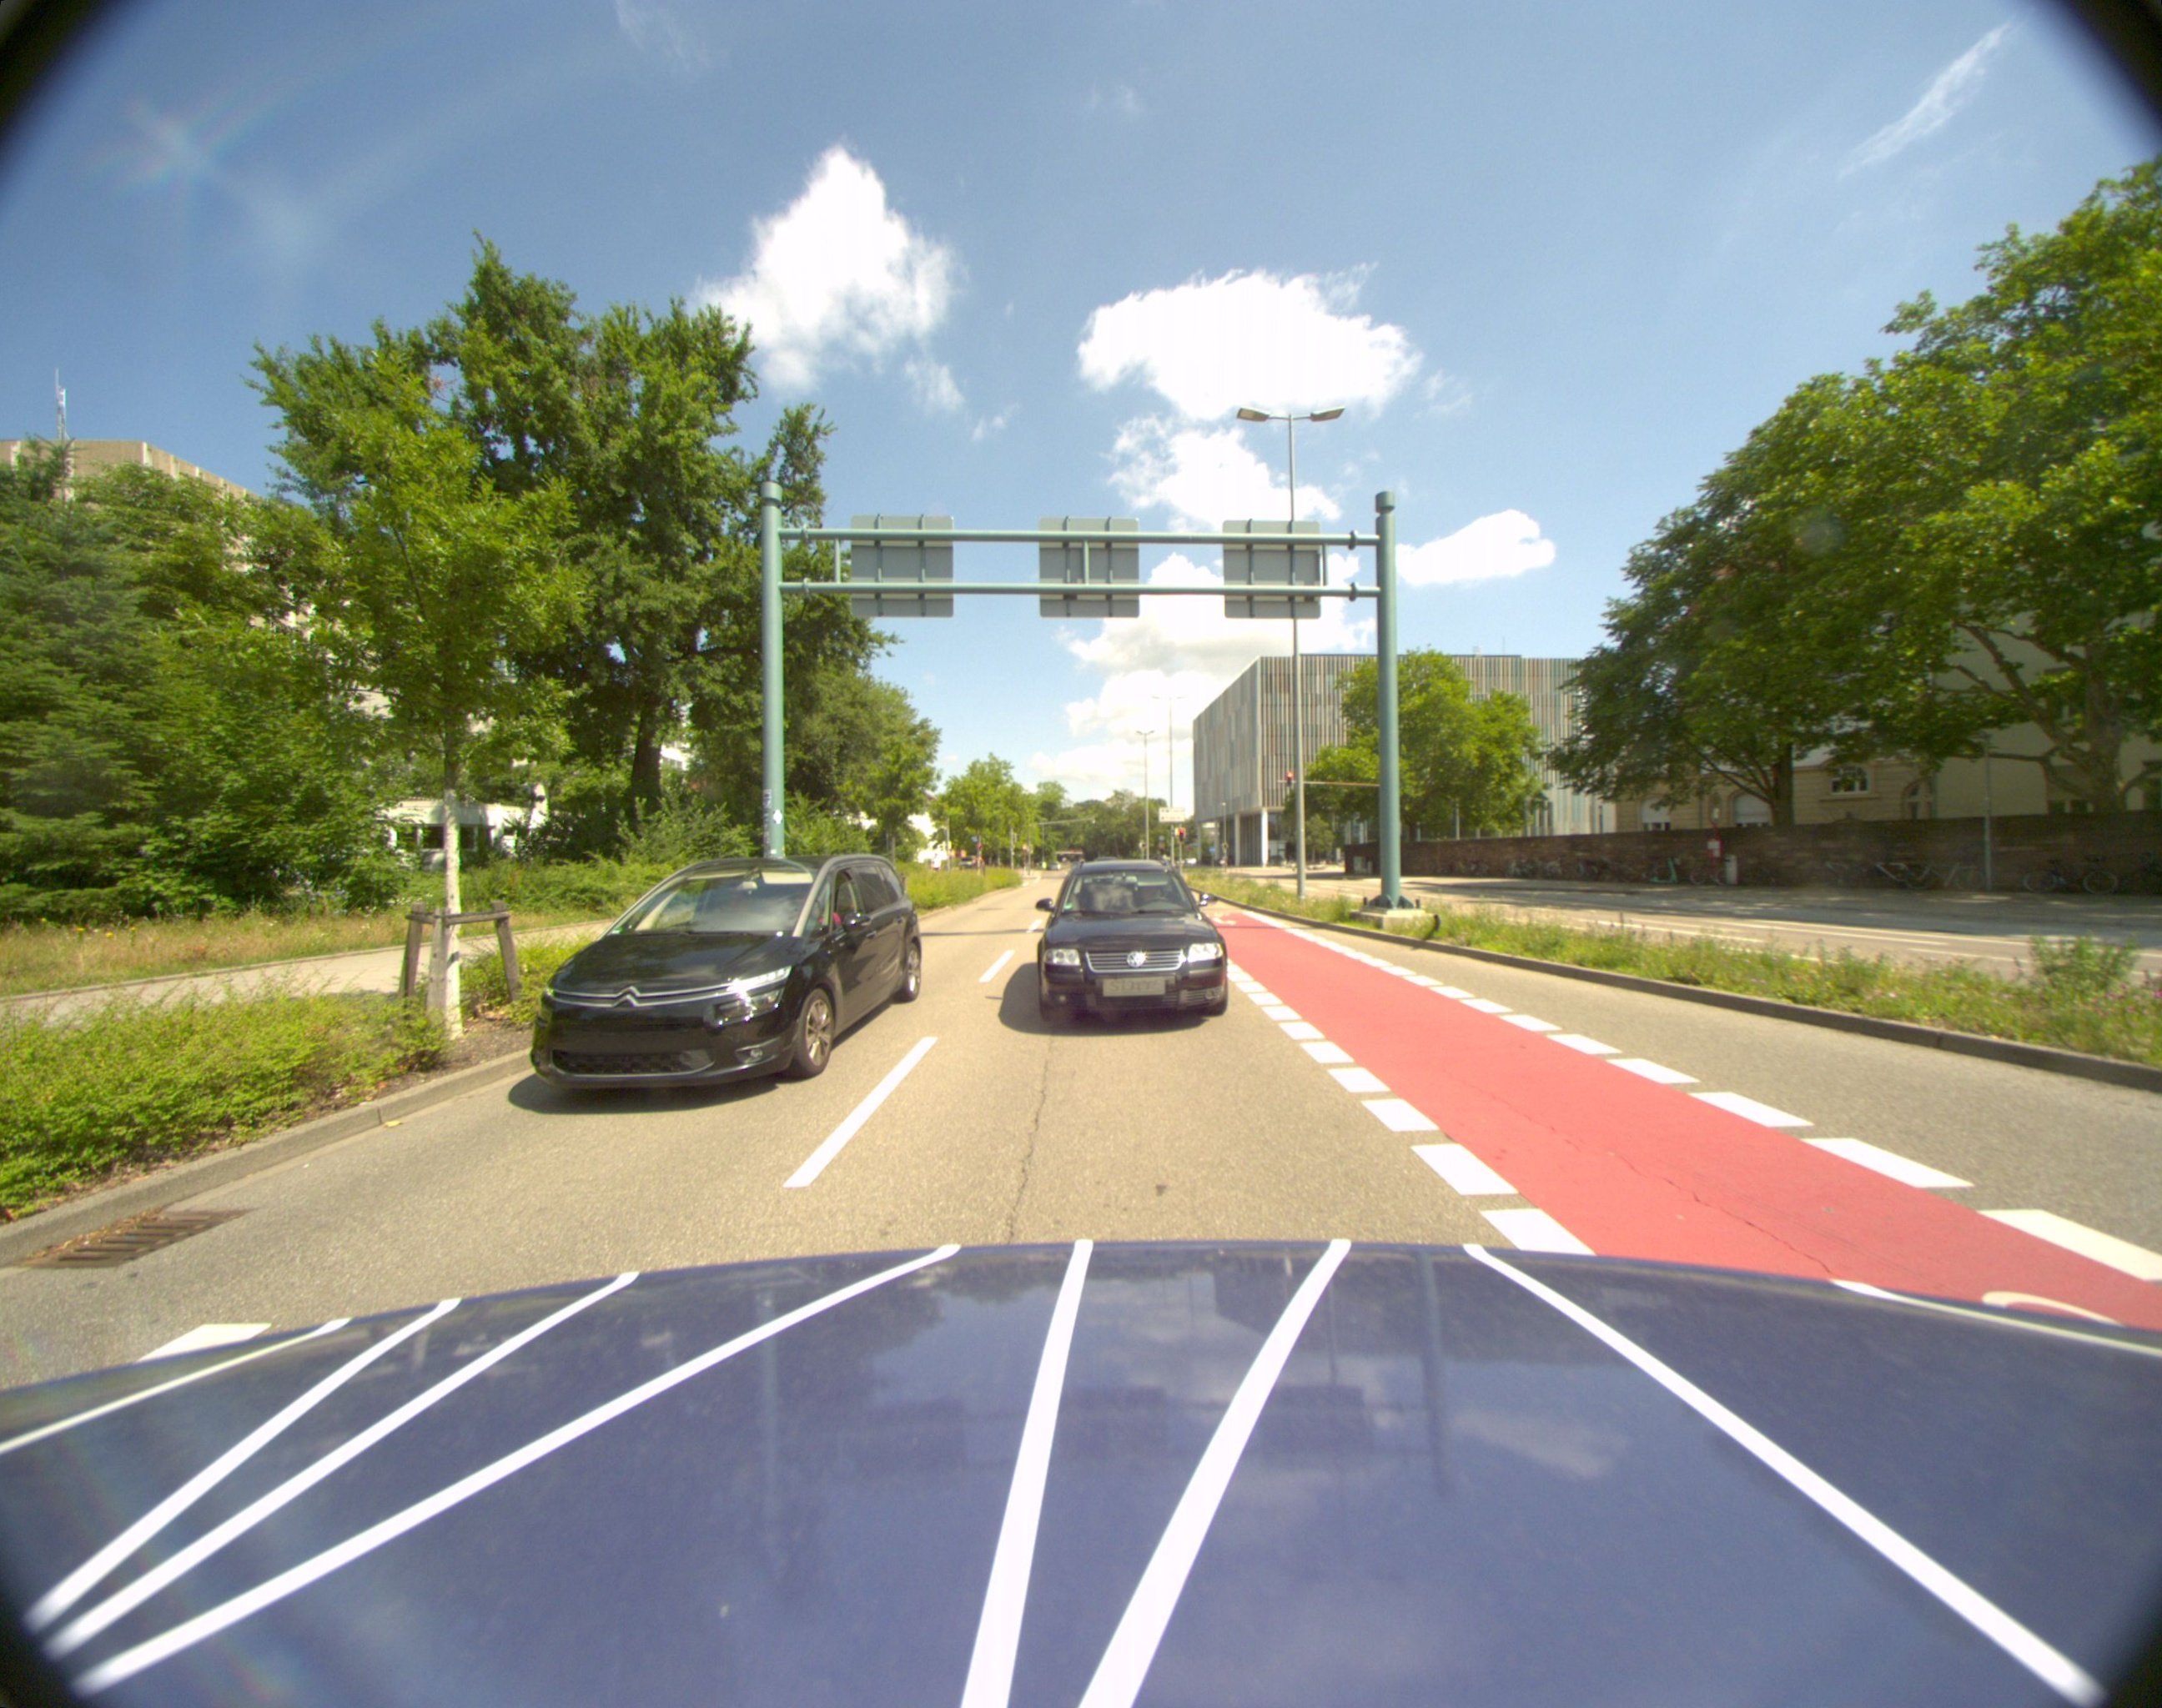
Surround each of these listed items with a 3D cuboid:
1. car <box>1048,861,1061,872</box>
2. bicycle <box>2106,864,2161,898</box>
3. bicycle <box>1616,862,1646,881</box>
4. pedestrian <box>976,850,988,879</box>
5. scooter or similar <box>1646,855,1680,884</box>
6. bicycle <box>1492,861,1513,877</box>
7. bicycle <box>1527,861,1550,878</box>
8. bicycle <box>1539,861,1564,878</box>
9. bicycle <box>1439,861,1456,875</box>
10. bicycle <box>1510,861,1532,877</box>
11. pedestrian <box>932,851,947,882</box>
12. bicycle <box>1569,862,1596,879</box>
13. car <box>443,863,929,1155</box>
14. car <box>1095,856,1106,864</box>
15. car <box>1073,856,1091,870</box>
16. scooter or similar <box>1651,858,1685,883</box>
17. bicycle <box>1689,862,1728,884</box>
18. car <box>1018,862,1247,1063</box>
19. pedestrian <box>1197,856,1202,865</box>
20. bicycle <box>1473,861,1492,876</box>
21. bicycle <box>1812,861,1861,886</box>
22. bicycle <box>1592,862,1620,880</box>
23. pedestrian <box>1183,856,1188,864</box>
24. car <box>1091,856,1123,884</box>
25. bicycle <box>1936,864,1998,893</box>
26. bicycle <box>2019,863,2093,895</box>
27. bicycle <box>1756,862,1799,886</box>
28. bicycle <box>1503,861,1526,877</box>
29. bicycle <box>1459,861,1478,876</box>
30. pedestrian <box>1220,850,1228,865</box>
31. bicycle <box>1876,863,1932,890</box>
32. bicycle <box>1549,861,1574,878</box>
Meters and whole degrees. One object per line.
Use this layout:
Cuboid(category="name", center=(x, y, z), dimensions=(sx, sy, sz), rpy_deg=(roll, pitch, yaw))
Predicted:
Cuboid(category="car", center=(-4.302, 1.947, 122.143), dimensions=(1.816, 1.598, 4.479), rpy_deg=(-3, 0, 1))
Cuboid(category="bicycle", center=(27.139, 0.679, 19.352), dimensions=(0.265, 0.826, 1.234), rpy_deg=(-1, 0, -13))
Cuboid(category="bicycle", center=(24.161, 0.772, 33.376), dimensions=(0.265, 0.826, 1.235), rpy_deg=(-1, 0, -11))
Cuboid(category="pedestrian", center=(-6.097, 0.663, 46.746), dimensions=(0.639, 1.754, 0.886), rpy_deg=(-1, 0, -2))
Cuboid(category="scooter or similar", center=(23.846, 0.623, 31.141), dimensions=(0.265, 1.182, 1.234), rpy_deg=(-1, 0, -11))
Cuboid(category="bicycle", center=(23.168, 0.818, 41.809), dimensions=(0.265, 0.826, 1.234), rpy_deg=(-1, 0, -11))
Cuboid(category="bicycle", center=(23.483, 0.788, 39.003), dimensions=(0.265, 0.826, 1.235), rpy_deg=(-1, 0, -11))
Cuboid(category="bicycle", center=(23.231, 0.750, 37.539), dimensions=(0.265, 0.826, 1.234), rpy_deg=(-1, 0, -11))
Cuboid(category="bicycle", center=(22.505, 0.875, 46.655), dimensions=(0.265, 0.826, 1.235), rpy_deg=(-1, 0, -11))
Cuboid(category="bicycle", center=(23.374, 0.790, 40.414), dimensions=(0.265, 0.826, 1.234), rpy_deg=(-1, 0, -11))
Cuboid(category="pedestrian", center=(-9.436, 0.812, 50.485), dimensions=(0.846, 2.026, 0.900), rpy_deg=(-1, 0, -17))
Cuboid(category="bicycle", center=(23.870, 0.780, 36.180), dimensions=(0.265, 0.826, 1.235), rpy_deg=(-1, 0, -11))
Cuboid(category="car", center=(-2.754, 0.936, 6.676), dimensions=(1.816, 1.598, 4.479), rpy_deg=(-3, 0, 1))
Cuboid(category="car", center=(3.843, 1.175, 150.975), dimensions=(1.758, 1.581, 4.275), rpy_deg=(-1, 0, -4))
Cuboid(category="car", center=(0.157, 0.890, 80.823), dimensions=(1.806, 1.361, 4.157), rpy_deg=(-1, 1, 1))
Cuboid(category="scooter or similar", center=(24.588, 0.694, 31.856), dimensions=(0.266, 1.014, 1.140), rpy_deg=(-1, 0, -22))
Cuboid(category="bicycle", center=(24.831, 0.740, 30.086), dimensions=(0.265, 0.826, 1.233), rpy_deg=(-1, 0, -21))
Cuboid(category="car", center=(0.433, 0.871, 8.236), dimensions=(1.723, 1.472, 4.594), rpy_deg=(-3, 0, 1))
Cuboid(category="pedestrian", center=(18.934, 0.988, 121.707), dimensions=(0.696, 1.445, 0.689), rpy_deg=(-1, 0, 4))
Cuboid(category="bicycle", center=(22.943, 0.807, 43.436), dimensions=(0.265, 0.826, 1.234), rpy_deg=(-1, 0, -11))
Cuboid(category="bicycle", center=(25.696, 0.650, 25.856), dimensions=(0.265, 0.826, 1.235), rpy_deg=(-1, 0, -11))
Cuboid(category="bicycle", center=(24.051, 0.783, 34.843), dimensions=(0.265, 0.826, 1.235), rpy_deg=(-1, 0, -11))
Cuboid(category="pedestrian", center=(17.915, 0.992, 130.168), dimensions=(0.696, 1.445, 0.689), rpy_deg=(-1, 0, 5))
Cuboid(category="car", center=(1.480, 0.904, 44.919), dimensions=(1.723, 1.545, 4.594), rpy_deg=(-3, 0, 1))
Cuboid(category="bicycle", center=(26.254, 0.722, 22.534), dimensions=(0.265, 0.826, 1.235), rpy_deg=(-1, 0, -11))
Cuboid(category="bicycle", center=(26.630, 0.671, 20.774), dimensions=(0.265, 0.826, 1.234), rpy_deg=(-1, 0, -13))
Cuboid(category="bicycle", center=(25.201, 0.708, 27.526), dimensions=(0.265, 0.826, 1.235), rpy_deg=(-1, 0, -11))
Cuboid(category="bicycle", center=(22.867, 0.800, 40.090), dimensions=(0.265, 0.826, 1.234), rpy_deg=(-1, 0, -11))
Cuboid(category="bicycle", center=(22.822, 0.856, 44.760), dimensions=(0.265, 0.826, 1.235), rpy_deg=(-1, 0, -11))
Cuboid(category="pedestrian", center=(18.867, 0.464, 100.314), dimensions=(0.864, 2.002, 0.995), rpy_deg=(-1, 0, -1))
Cuboid(category="bicycle", center=(26.026, 0.701, 24.051), dimensions=(0.265, 0.826, 1.235), rpy_deg=(-1, 0, -11))
Cuboid(category="bicycle", center=(23.677, 0.749, 37.474), dimensions=(0.265, 0.826, 1.235), rpy_deg=(-1, 0, -11))
